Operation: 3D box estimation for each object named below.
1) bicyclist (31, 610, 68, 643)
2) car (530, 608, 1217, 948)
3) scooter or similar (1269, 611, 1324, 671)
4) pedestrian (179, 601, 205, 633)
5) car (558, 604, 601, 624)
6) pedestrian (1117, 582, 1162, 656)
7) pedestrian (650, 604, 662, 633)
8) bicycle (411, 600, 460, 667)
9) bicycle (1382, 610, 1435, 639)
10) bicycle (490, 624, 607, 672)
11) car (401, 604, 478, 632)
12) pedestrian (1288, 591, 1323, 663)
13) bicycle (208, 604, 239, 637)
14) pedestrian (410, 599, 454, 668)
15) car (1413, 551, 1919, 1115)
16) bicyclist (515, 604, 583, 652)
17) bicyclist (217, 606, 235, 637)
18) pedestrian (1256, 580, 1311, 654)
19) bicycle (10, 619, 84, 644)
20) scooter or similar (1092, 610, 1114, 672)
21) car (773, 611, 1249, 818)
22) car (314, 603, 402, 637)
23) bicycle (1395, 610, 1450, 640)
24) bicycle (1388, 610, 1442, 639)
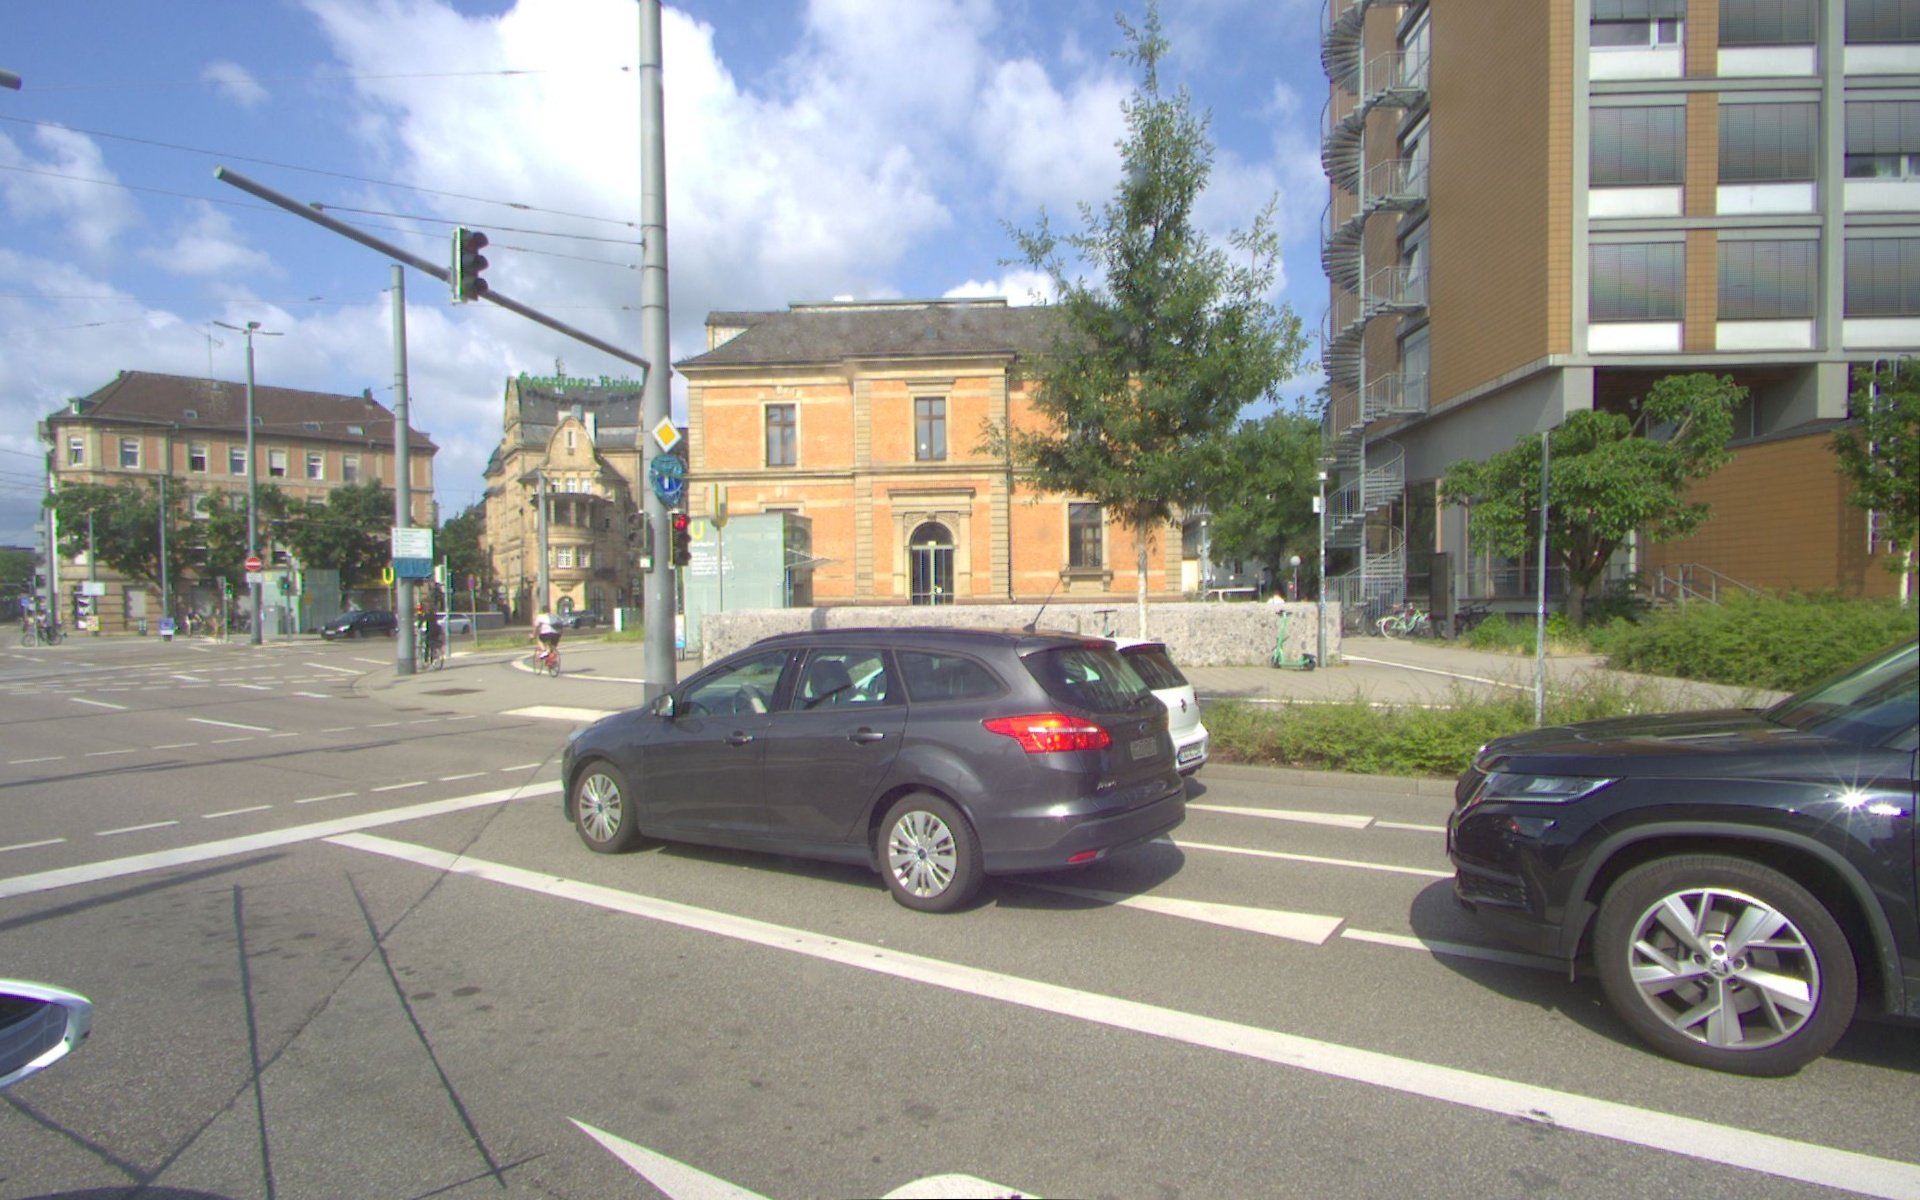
[{"bbox_3d":[-46.834,1.345,51.518,0.774,1.680,1.192,0,1,30],"label":"bicyclist"},{"bbox_3d":[-0.679,0.889,6.469,4.195,1.547,1.765,-1,-4,33],"label":"car"},{"bbox_3d":[6.658,0.796,19.844,0.396,1.146,1.184,-1,1,-19],"label":"scooter or similar"},{"bbox_3d":[-45.160,1.011,58.885,0.872,1.833,0.866,-1,-1,21],"label":"pedestrian"},{"bbox_3d":[-32.484,1.196,85.604,1.721,1.621,3.999,0,0,6],"label":"car"},{"bbox_3d":[4.095,0.418,22.791,0.754,1.610,0.768,0,4,32],"label":"pedestrian"},{"bbox_3d":[-15.936,0.953,52.466,0.497,1.525,0.499,-1,1,-2],"label":"pedestrian"},{"bbox_3d":[-14.440,0.930,27.518,0.995,1.747,2.455,1,-2,-32],"label":"bicycle"},{"bbox_3d":[14.926,0.820,33.334,1.520,0.916,0.459,-1,0,5],"label":"bicycle"},{"bbox_3d":[-9.813,1.166,23.848,3.066,1.040,0.991,-4,-4,32],"label":"bicycle"},{"bbox_3d":[-31.979,1.087,61.734,1.961,1.617,4.683,0,0,6],"label":"car"},{"bbox_3d":[7.552,0.577,21.892,0.573,1.541,0.476,-1,1,36],"label":"pedestrian"},{"bbox_3d":[-40.146,1.112,54.550,1.612,1.801,0.728,0,1,29],"label":"bicycle"},{"bbox_3d":[-14.518,0.925,27.527,0.982,1.865,0.990,1,-1,-32],"label":"pedestrian"},{"bbox_3d":[4.172,0.697,3.379,4.616,1.689,1.991,-2,-2,31],"label":"car"},{"bbox_3d":[-9.780,0.683,23.842,1.198,1.040,0.989,-4,-4,32],"label":"bicyclist"},{"bbox_3d":[-39.851,1.168,54.368,0.646,1.693,0.571,0,1,29],"label":"bicyclist"},{"bbox_3d":[7.390,0.370,22.912,0.753,1.610,0.934,-3,3,-27],"label":"pedestrian"},{"bbox_3d":[-46.887,1.586,51.443,0.887,1.186,2.668,0,0,29],"label":"bicycle"},{"bbox_3d":[2.939,0.835,20.669,0.395,1.212,1.186,-1,1,6],"label":"scooter or similar"},{"bbox_3d":[0.375,0.927,9.417,4.172,1.464,1.676,1,-2,34],"label":"car"},{"bbox_3d":[-32.934,1.120,54.931,1.961,1.761,4.343,0,-2,5],"label":"car"},{"bbox_3d":[14.808,0.803,32.062,1.520,0.916,0.459,-1,0,5],"label":"bicycle"},{"bbox_3d":[14.863,0.798,32.703,1.520,0.916,0.459,-1,0,5],"label":"bicycle"}]
